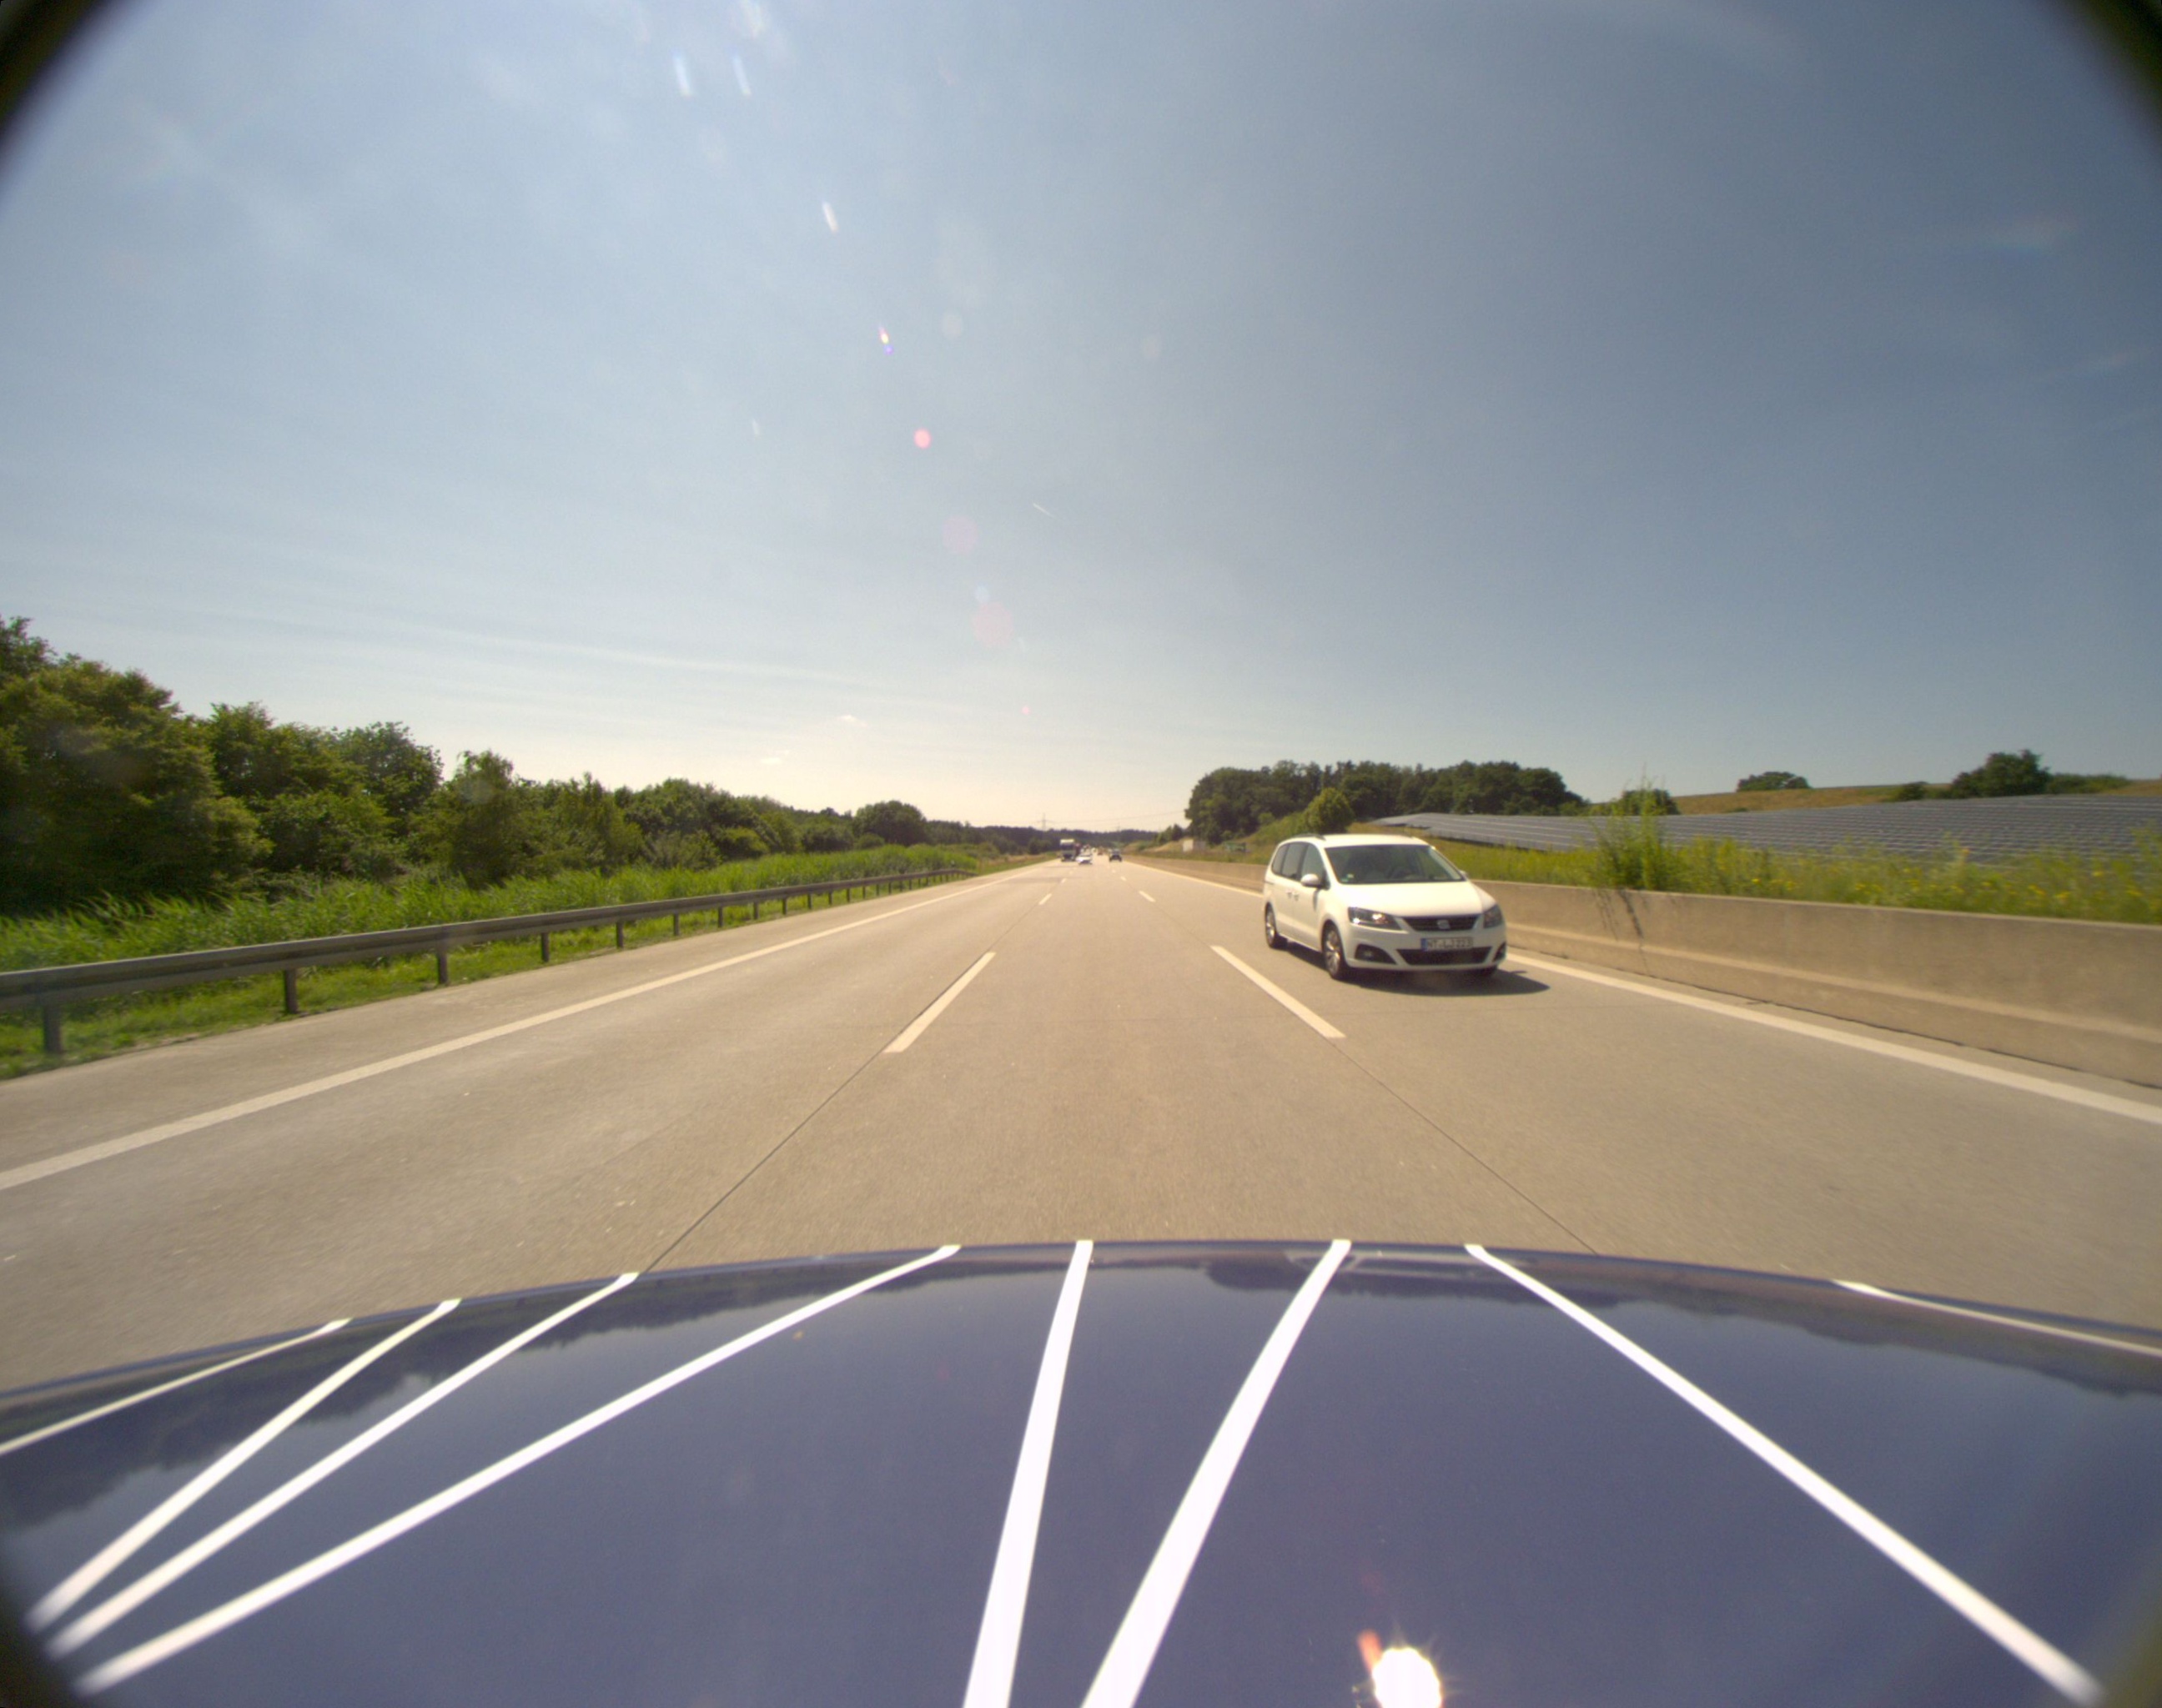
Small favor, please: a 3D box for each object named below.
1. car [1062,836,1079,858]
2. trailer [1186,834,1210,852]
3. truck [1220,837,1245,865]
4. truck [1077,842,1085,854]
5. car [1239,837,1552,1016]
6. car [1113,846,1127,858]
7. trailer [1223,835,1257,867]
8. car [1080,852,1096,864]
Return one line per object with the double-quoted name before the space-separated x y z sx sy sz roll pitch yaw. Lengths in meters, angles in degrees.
"car" -1.919 -1.313 141.533 2.766 4.029 10.851 -1 1 1
"trailer" 23.257 -2.177 151.700 2.839 3.165 14.504 -2 1 1
"truck" 22.350 -0.487 112.136 2.752 3.928 4.352 -2 1 1
"truck" 0.107 -1.859 231.700 2.351 3.474 5.245 -1 1 0
"car" 3.715 0.670 10.474 1.850 1.698 6.035 -2 1 1
"car" 6.287 -0.371 121.907 1.998 1.836 6.529 -3 1 1
"trailer" 22.183 -0.382 106.442 2.739 4.167 10.256 -2 0 1
"car" 0.947 0.493 102.738 2.065 1.472 5.068 -5 1 0
